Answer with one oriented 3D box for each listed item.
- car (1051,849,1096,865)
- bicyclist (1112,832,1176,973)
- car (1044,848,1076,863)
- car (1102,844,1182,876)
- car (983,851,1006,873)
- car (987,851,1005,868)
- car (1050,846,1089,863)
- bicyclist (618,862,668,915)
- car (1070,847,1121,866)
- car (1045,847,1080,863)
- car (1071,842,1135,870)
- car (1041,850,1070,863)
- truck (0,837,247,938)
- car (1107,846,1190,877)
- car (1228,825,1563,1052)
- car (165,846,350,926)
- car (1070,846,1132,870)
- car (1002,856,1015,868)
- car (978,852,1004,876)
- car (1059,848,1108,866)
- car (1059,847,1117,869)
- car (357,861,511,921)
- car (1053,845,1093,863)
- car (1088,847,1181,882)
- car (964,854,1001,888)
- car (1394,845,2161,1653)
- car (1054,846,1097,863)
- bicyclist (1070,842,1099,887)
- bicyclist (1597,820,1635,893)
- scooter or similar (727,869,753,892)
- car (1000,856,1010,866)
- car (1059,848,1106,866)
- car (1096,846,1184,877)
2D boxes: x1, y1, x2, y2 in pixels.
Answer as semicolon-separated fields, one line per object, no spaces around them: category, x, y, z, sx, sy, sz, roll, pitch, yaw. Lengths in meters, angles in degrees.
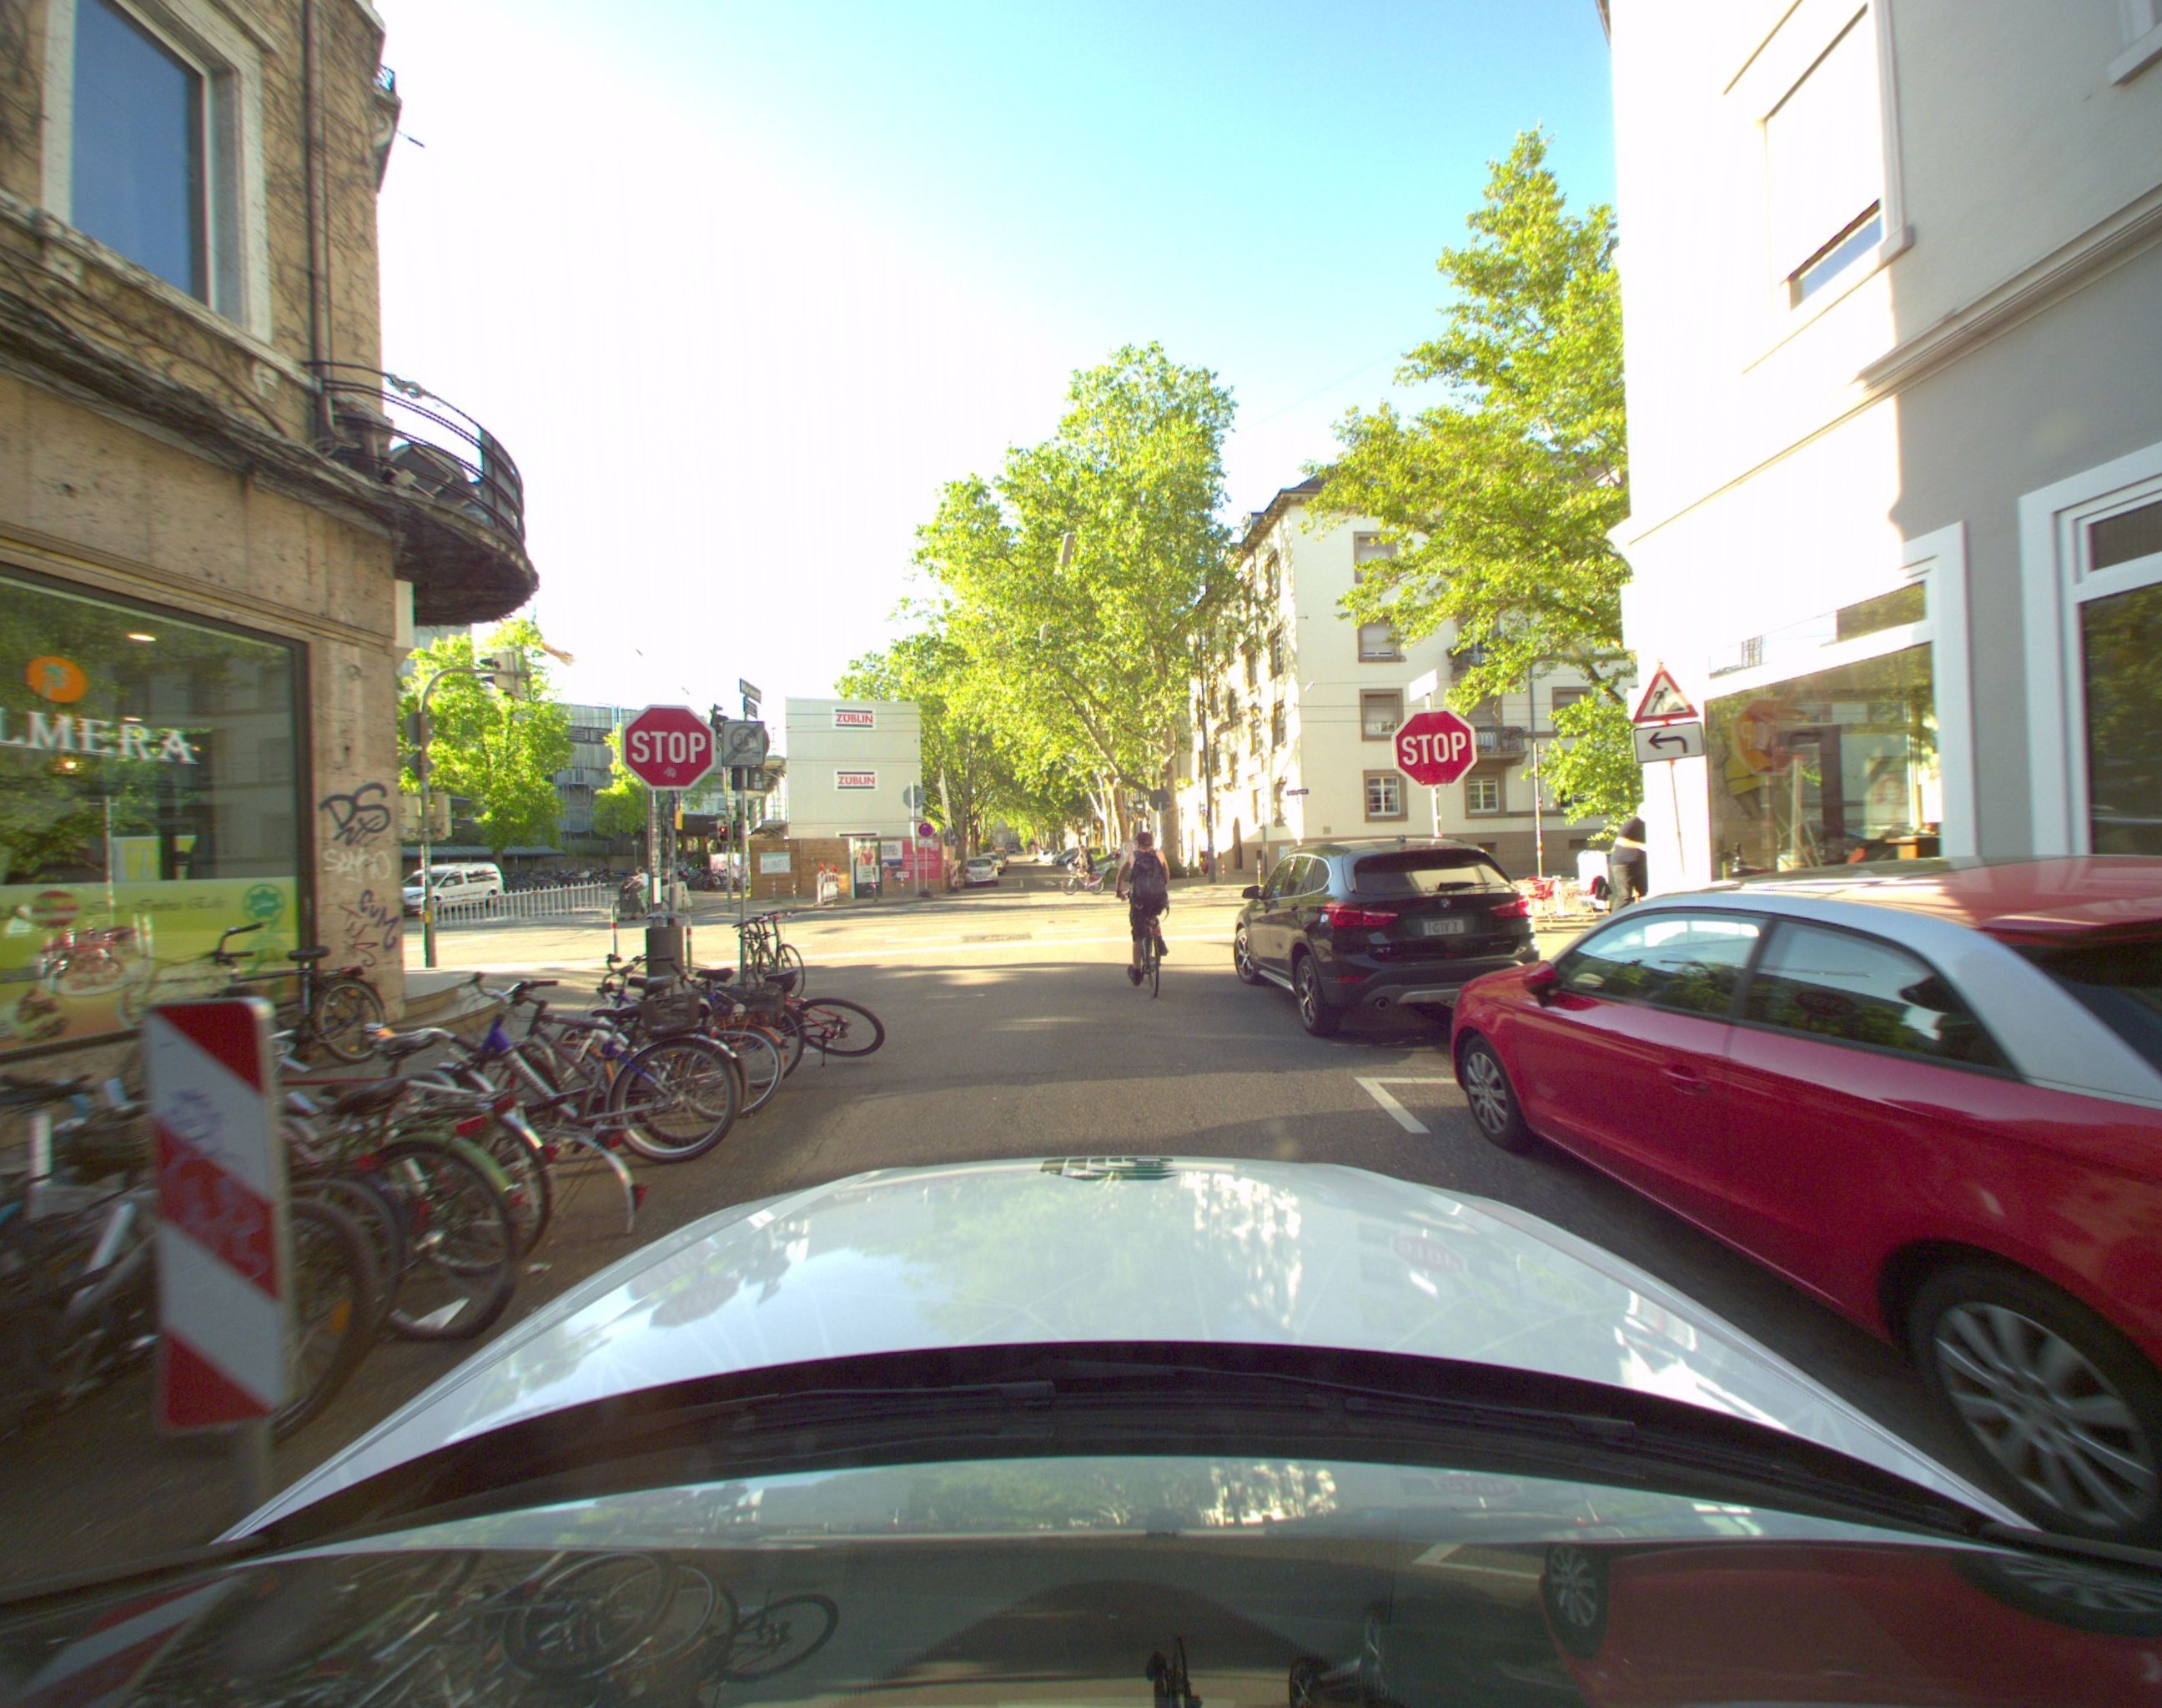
car;-0.807;0.297;85.038;4.456;1.571;1.724;-2;0;-6
bicyclist;0.695;0.519;9.105;0.673;1.513;0.669;-1;0;2
car;-3.068;0.229;117.569;4.456;1.898;1.724;-2;0;-6
car;3.612;0.338;48.497;4.456;1.671;1.724;-2;0;-6
car;-6.739;0.578;63.261;1.663;1.562;4.508;-2;0;-7
car;-8.385;0.487;79.900;1.663;1.562;4.605;-2;0;-7
car;-1.376;0.020;97.399;4.456;1.898;1.724;-2;0;-6
bicyclist;-14.091;1.096;26.218;1.095;1.640;0.894;-2;-1;-5
car;1.336;0.199;74.769;4.456;1.571;1.724;-2;0;-6
car;-2.504;0.108;110.167;4.456;1.898;1.724;-2;0;-6
car;1.580;0.150;59.392;4.457;1.836;1.724;-2;0;-7
car;-4.014;0.384;129.550;4.456;1.898;1.724;-2;0;-6
truck;-37.031;1.104;31.545;2.378;3.347;7.110;-2;2;-5
car;3.796;0.404;46.422;4.456;1.571;1.724;-2;0;-6
car;2.715;0.621;8.154;1.754;1.662;4.197;-1;0;0
car;-31.489;1.097;31.451;1.992;2.530;5.368;-2;3;-8
car;1.510;0.280;61.407;4.456;1.571;1.724;-2;0;-6
car;-9.813;1.029;109.788;1.663;1.562;4.209;-2;0;-7
car;-6.372;0.665;57.573;1.663;1.562;3.991;-2;0;-7
car;0.208;0.253;77.873;4.456;1.571;1.724;-2;0;-6
car;0.560;0.298;65.266;4.456;1.571;1.724;-2;0;-6
car;-25.385;1.360;32.243;1.997;1.892;4.948;-2;2;0
car;-0.972;-0.052;94.691;4.456;1.898;1.724;-2;0;-6
car;2.696;0.498;41.475;4.456;1.571;1.724;-2;0;-6
car;-5.000;0.819;41.504;1.642;1.494;3.991;-4;1;-7
car;2.846;0.729;3.316;1.640;1.503;3.955;-1;0;0
car;-0.629;0.053;87.382;4.456;1.571;1.724;-2;0;-6
bicyclist;0.130;0.403;30.782;0.813;1.658;0.677;-2;0;-23
bicyclist;12.639;0.061;19.246;0.645;1.687;0.547;-2;-1;27
scooter or similar;-16.972;1.318;40.552;0.381;1.020;1.493;-2;1;14
car;-13.112;1.165;140.259;1.663;1.562;4.209;-2;0;-7
car;0.133;0.263;80.348;4.456;1.571;1.724;-2;0;-6
car;3.157;0.393;43.984;4.456;1.500;1.724;-2;0;-6
